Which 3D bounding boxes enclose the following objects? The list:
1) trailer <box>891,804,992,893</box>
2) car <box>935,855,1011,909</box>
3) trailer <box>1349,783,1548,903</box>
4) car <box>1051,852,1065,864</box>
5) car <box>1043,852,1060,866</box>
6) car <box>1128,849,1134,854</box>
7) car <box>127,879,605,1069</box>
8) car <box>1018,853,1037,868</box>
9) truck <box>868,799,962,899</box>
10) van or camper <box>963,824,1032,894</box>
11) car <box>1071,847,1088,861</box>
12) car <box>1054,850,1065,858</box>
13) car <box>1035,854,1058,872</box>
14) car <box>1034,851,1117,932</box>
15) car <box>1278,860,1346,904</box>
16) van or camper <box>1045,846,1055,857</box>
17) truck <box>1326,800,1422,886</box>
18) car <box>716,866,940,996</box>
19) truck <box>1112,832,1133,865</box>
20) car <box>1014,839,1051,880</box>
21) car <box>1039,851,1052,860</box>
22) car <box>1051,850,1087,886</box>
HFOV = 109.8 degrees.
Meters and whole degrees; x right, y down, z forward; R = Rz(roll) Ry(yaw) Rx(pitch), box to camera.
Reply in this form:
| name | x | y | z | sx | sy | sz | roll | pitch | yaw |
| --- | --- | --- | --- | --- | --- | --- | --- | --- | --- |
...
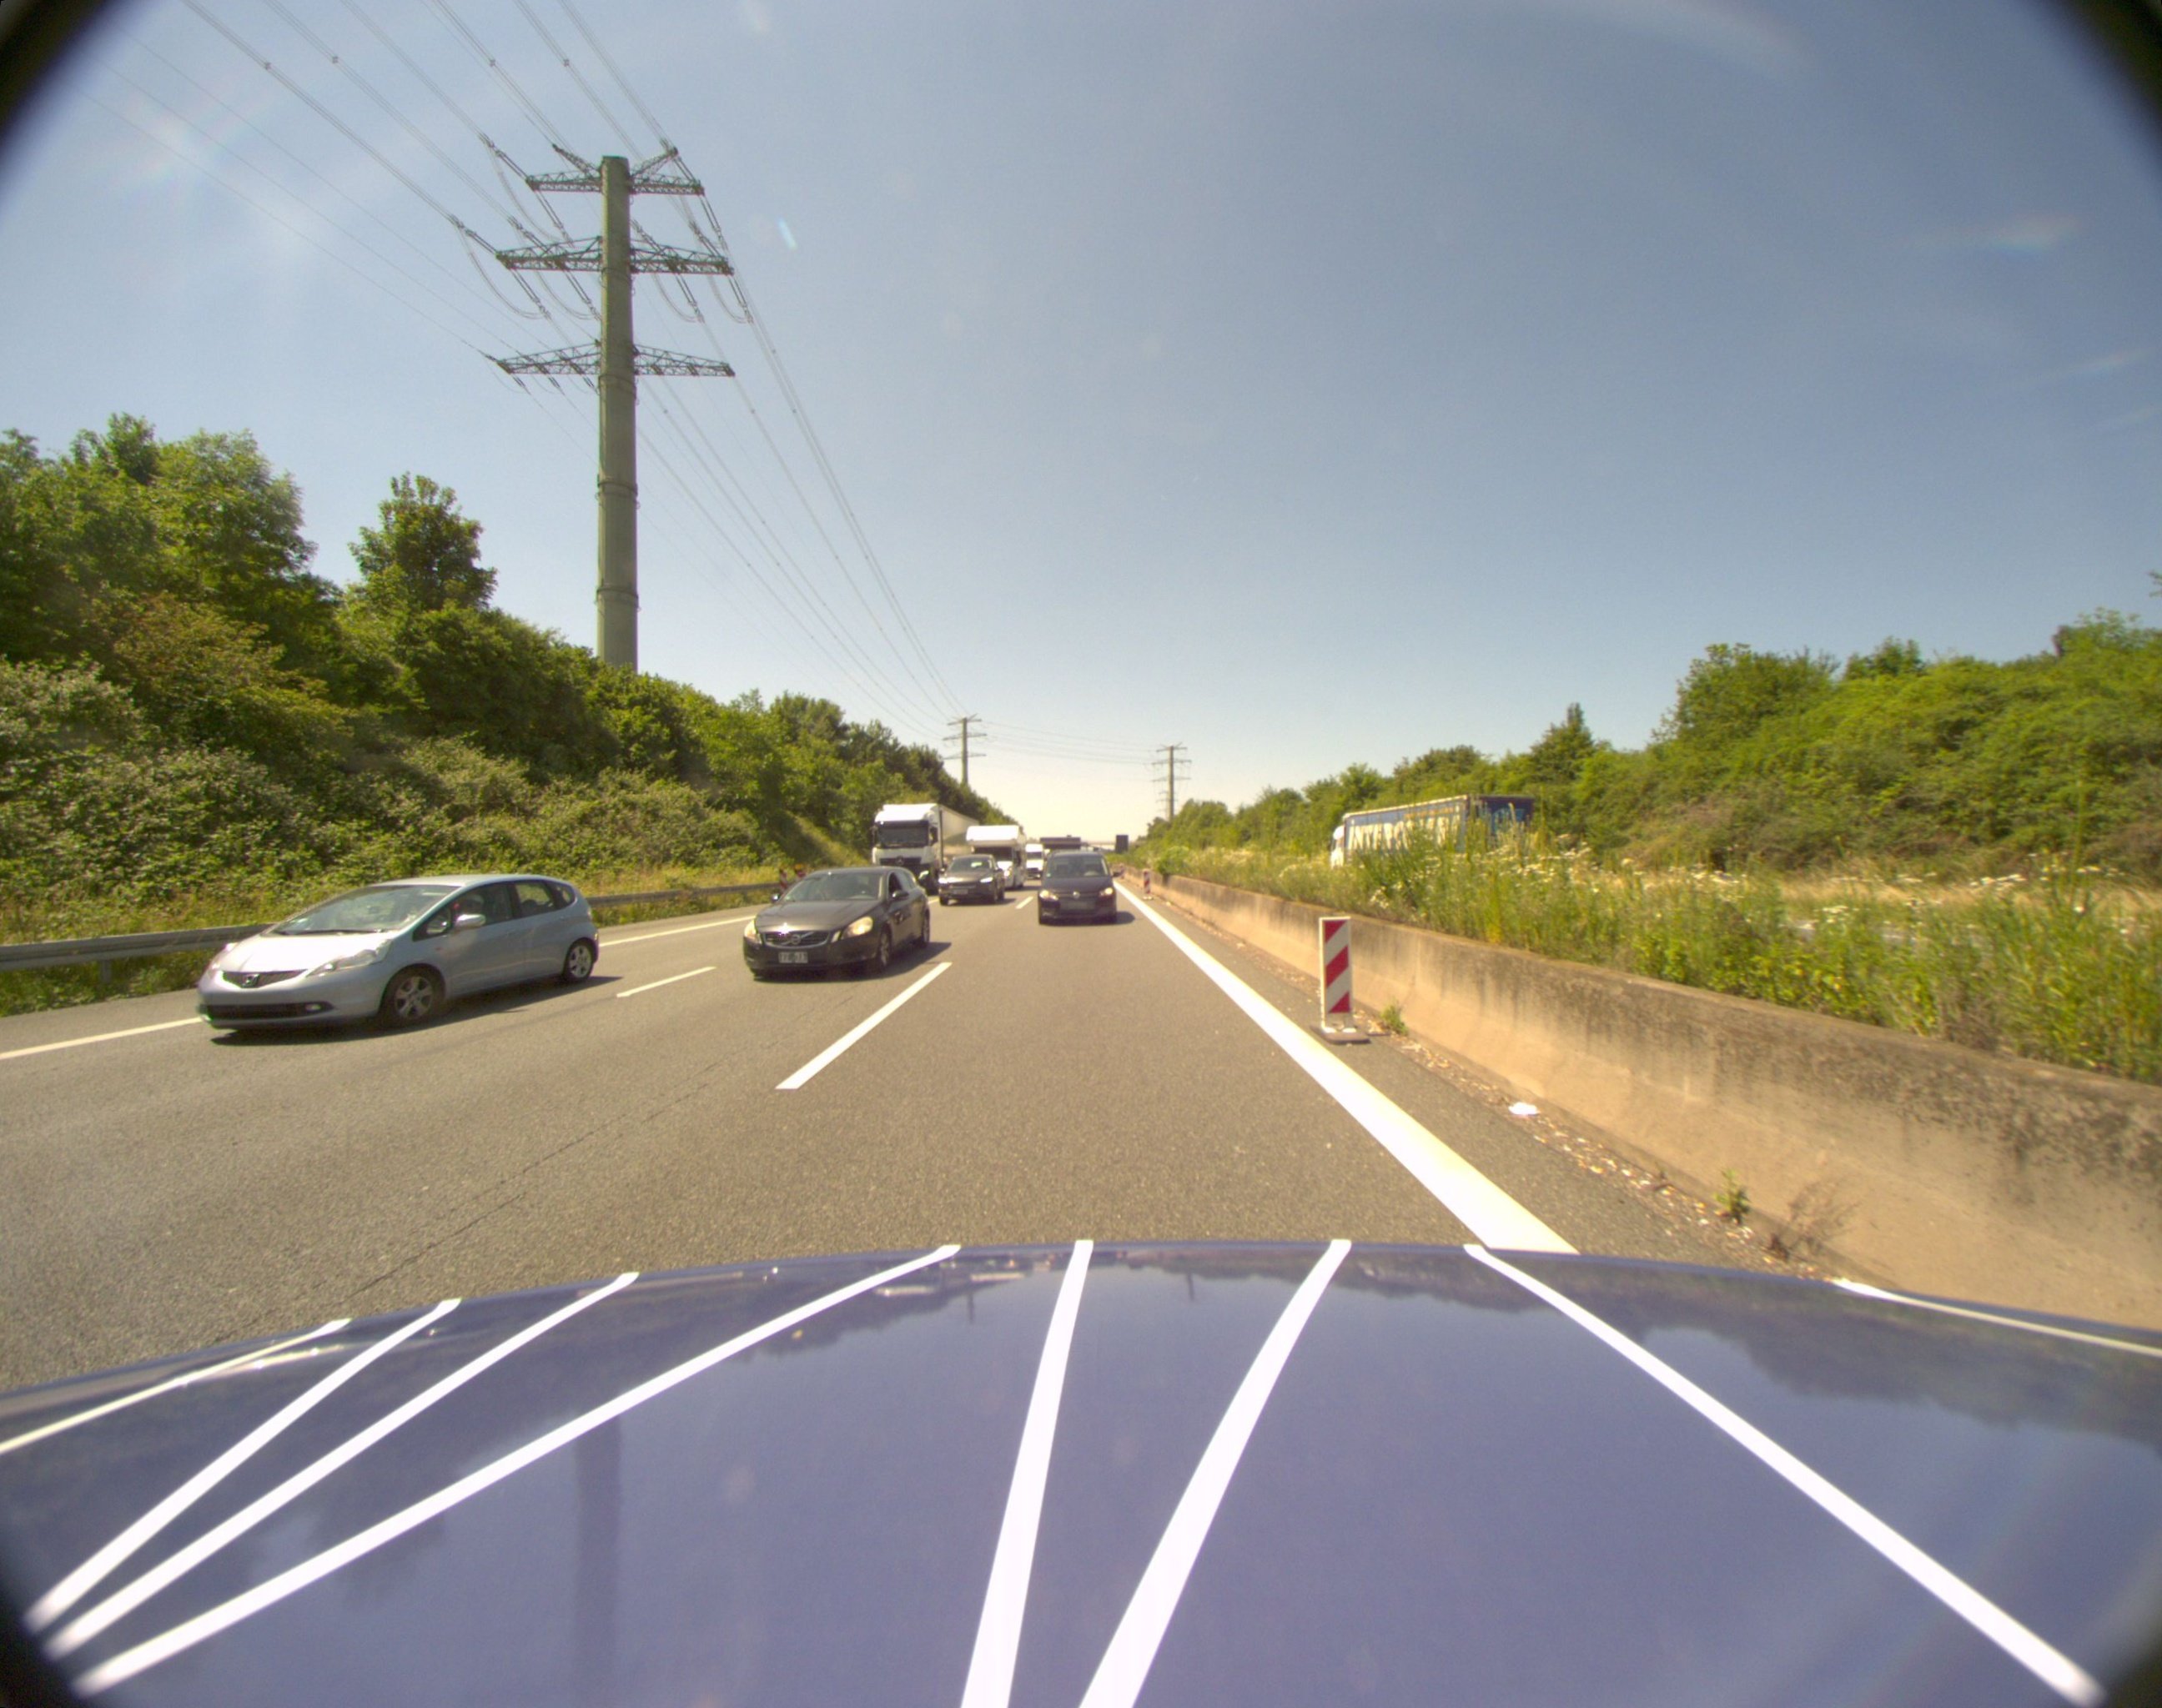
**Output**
| name | x | y | z | sx | sy | sz | roll | pitch | yaw |
| --- | --- | --- | --- | --- | --- | --- | --- | --- | --- |
| trailer | -7.219 | -0.314 | 41.692 | 2.790 | 4.024 | 13.110 | -2 | 1 | 1 |
| car | -3.619 | 0.882 | 26.245 | 1.893 | 1.602 | 4.219 | -2 | 1 | 1 |
| trailer | 16.082 | -0.491 | 34.965 | 2.967 | 4.378 | 12.904 | -2 | 1 | 1 |
| car | -3.155 | 0.540 | 106.780 | 1.720 | 1.510 | 3.874 | -2 | 1 | 1 |
| car | -3.546 | 0.551 | 90.849 | 1.720 | 1.510 | 3.874 | -2 | 1 | 1 |
| car | 15.813 | -0.836 | 240.614 | 1.514 | 1.456 | 3.362 | 0 | 0 | 1 |
| car | -7.455 | 1.122 | 8.561 | 1.705 | 1.440 | 3.787 | -2 | 1 | 1 |
| car | -5.926 | 0.702 | 84.440 | 1.720 | 1.510 | 3.874 | -2 | 1 | 1 |
| truck | -7.347 | -0.231 | 34.450 | 2.740 | 4.024 | 5.793 | -2 | 1 | 1 |
| van or camper | -3.978 | 0.175 | 37.689 | 2.375 | 3.026 | 7.631 | -2 | 1 | 1 |
| car | -0.168 | -0.007 | 99.322 | 1.973 | 1.682 | 3.874 | -2 | 1 | 1 |
| car | -3.979 | -0.015 | 142.121 | 1.720 | 1.510 | 3.874 | -2 | 1 | 1 |
| car | -3.055 | 0.804 | 68.271 | 1.720 | 1.510 | 3.874 | -2 | 1 | 1 |
| car | -0.077 | 0.795 | 18.275 | 1.700 | 1.641 | 4.219 | -2 | 1 | 1 |
| car | 8.445 | 0.985 | 28.040 | 1.514 | 1.456 | 3.362 | 0 | 0 | 1 |
| van or camper | -7.407 | -0.535 | 182.069 | 1.978 | 2.511 | 4.369 | -2 | 1 | 1 |
| truck | 16.154 | -0.598 | 42.330 | 2.952 | 4.367 | 6.074 | -2 | 1 | 1 |
| car | -3.541 | 0.993 | 11.630 | 1.799 | 1.411 | 4.509 | -2 | 1 | 1 |
| truck | 4.275 | -0.606 | 78.658 | 1.892 | 3.264 | 5.590 | -2 | 1 | 1 |
| car | -3.398 | 0.363 | 54.668 | 2.042 | 2.703 | 6.705 | -2 | 1 | 1 |
| car | -5.714 | 0.191 | 121.925 | 1.720 | 1.392 | 3.874 | -2 | 1 | 1 |
| car | -0.559 | 0.680 | 39.350 | 1.700 | 1.641 | 4.219 | -2 | 1 | 1 |
